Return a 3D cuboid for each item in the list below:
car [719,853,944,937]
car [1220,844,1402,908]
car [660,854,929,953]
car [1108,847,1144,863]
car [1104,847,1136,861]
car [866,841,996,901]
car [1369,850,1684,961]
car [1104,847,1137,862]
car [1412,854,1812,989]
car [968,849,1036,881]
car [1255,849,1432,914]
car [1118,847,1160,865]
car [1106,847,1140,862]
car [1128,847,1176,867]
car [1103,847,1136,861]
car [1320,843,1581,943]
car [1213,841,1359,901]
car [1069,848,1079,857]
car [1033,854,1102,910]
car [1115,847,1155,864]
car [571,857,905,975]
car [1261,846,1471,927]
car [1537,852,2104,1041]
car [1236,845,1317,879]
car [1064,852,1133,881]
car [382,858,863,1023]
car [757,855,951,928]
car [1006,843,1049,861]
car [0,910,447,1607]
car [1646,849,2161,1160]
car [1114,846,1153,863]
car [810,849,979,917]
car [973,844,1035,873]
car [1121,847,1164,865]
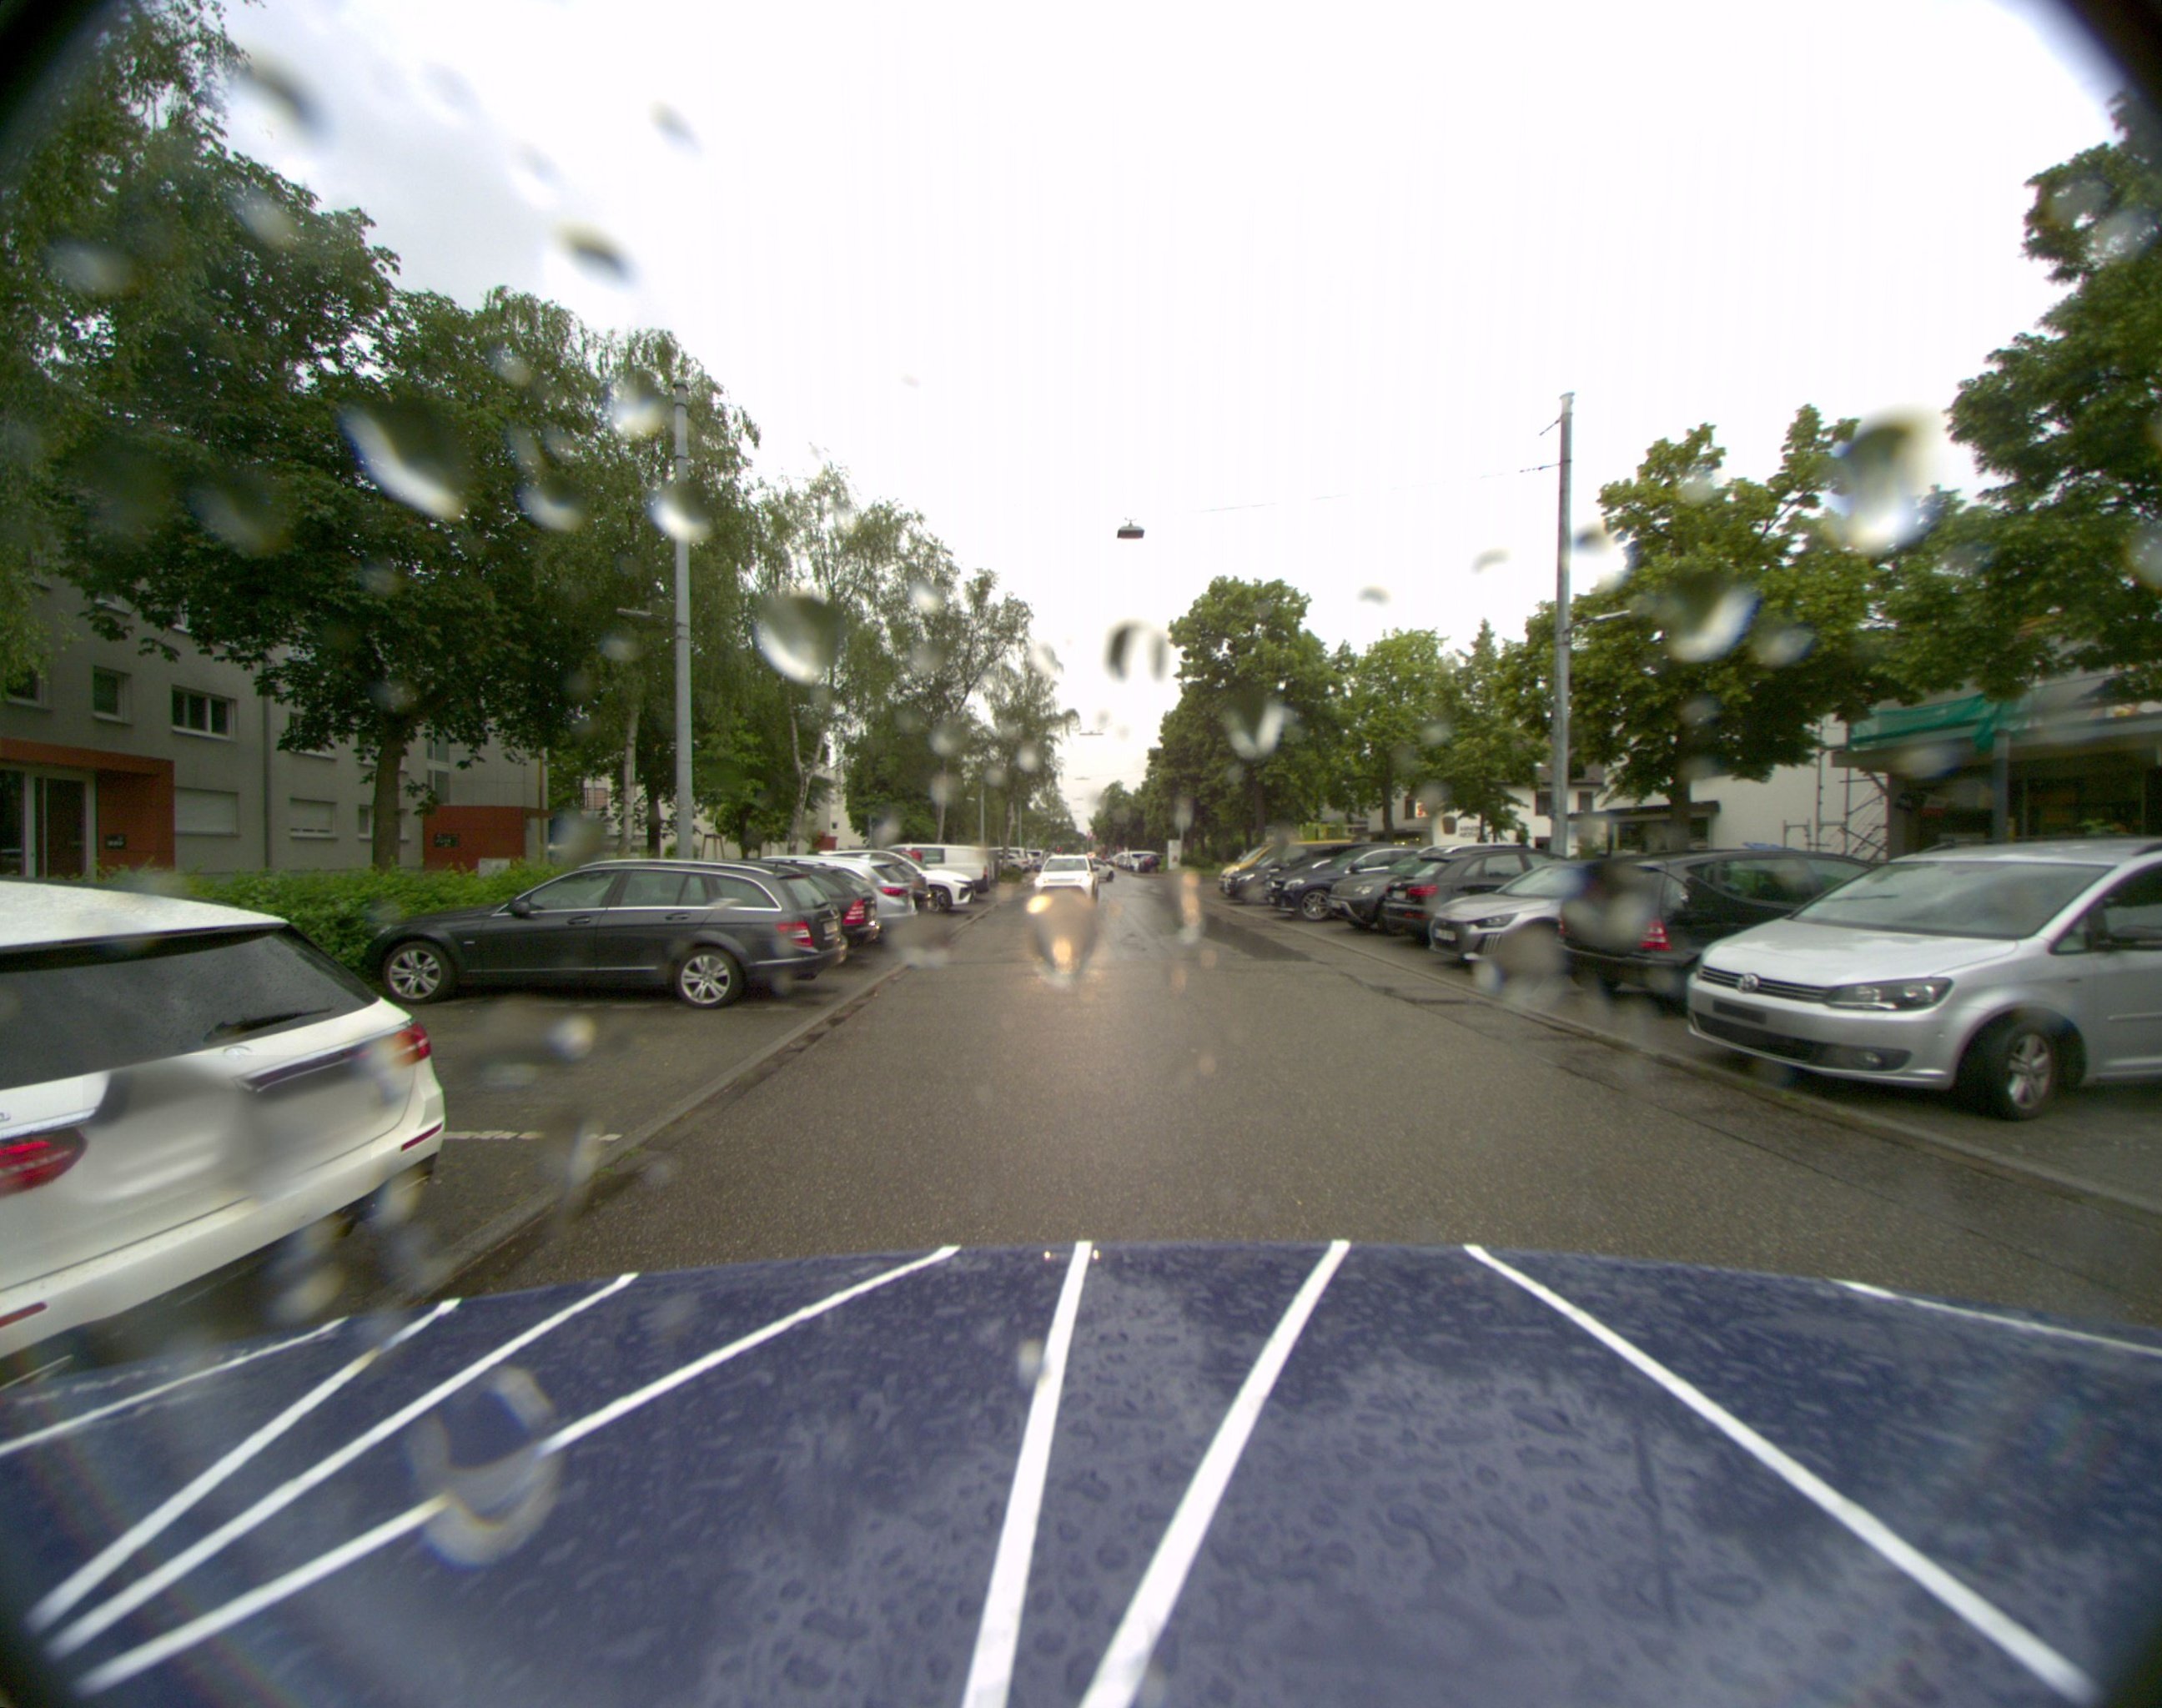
[{"bbox_3d":[-4.989,0.796,15.620,4.049,1.488,1.680,2,1,-3],"label":"car"},{"bbox_3d":[7.122,0.646,23.846,5.177,1.789,1.715,-2,1,-2],"label":"car"},{"bbox_3d":[-4.846,0.820,13.299,4.049,1.488,1.680,2,1,-3],"label":"car"},{"bbox_3d":[5.353,0.115,90.301,3.998,1.675,1.999,-2,1,-3],"label":"car"},{"bbox_3d":[5.224,0.006,101.605,3.998,1.675,1.999,-2,1,-3],"label":"car"},{"bbox_3d":[-5.073,0.576,26.179,4.182,1.856,1.679,2,1,-6],"label":"car"},{"bbox_3d":[7.271,0.787,12.665,4.283,1.586,1.715,-2,1,-2],"label":"car"},{"bbox_3d":[5.046,0.042,96.930,3.998,1.675,1.999,-2,1,-3],"label":"car"},{"bbox_3d":[7.005,0.837,10.306,4.283,1.523,1.715,-2,1,-2],"label":"car"},{"bbox_3d":[-5.101,0.693,49.253,3.995,1.902,1.902,-2,1,4],"label":"car"},{"bbox_3d":[7.188,0.721,21.059,4.283,1.617,1.715,-2,1,-2],"label":"car"},{"bbox_3d":[5.936,0.169,78.339,3.998,1.675,1.999,-2,1,-3],"label":"car"},{"bbox_3d":[5.236,0.067,94.408,3.998,1.675,1.999,-2,1,-3],"label":"car"},{"bbox_3d":[6.415,0.271,68.868,3.998,1.675,1.999,-2,1,-3],"label":"car"},{"bbox_3d":[4.989,0.016,99.163,3.998,1.675,1.999,-2,1,-3],"label":"car"},{"bbox_3d":[7.097,0.703,14.857,4.283,1.717,1.715,-2,1,-2],"label":"car"},{"bbox_3d":[7.189,0.574,26.928,4.657,1.947,1.715,-2,1,-2],"label":"car"},{"bbox_3d":[-1.497,-0.367,159.745,1.998,1.804,3.999,-2,1,1],"label":"car"},{"bbox_3d":[-0.325,0.782,23.470,1.732,1.519,4.140,0,1,5],"label":"car"},{"bbox_3d":[5.780,0.140,81.037,3.998,1.675,1.999,-2,1,-3],"label":"car"},{"bbox_3d":[-4.790,0.852,11.052,4.049,1.431,1.680,2,1,-3],"label":"car"},{"bbox_3d":[6.626,0.717,17.935,4.283,1.717,1.715,-2,1,-2],"label":"car"},{"bbox_3d":[7.267,0.836,7.746,4.283,1.556,1.635,-2,1,-2],"label":"car"},{"bbox_3d":[10.684,0.430,41.685,3.996,1.677,1.841,-2,1,3],"label":"car"},{"bbox_3d":[1.058,0.703,43.747,1.995,1.446,4.265,-2,1,33],"label":"car"},{"bbox_3d":[-4.595,0.848,8.107,4.049,1.431,1.680,2,1,-3],"label":"car"},{"bbox_3d":[-5.223,0.848,17.886,4.049,1.488,1.680,2,1,-3],"label":"car"},{"bbox_3d":[-5.254,-0.207,75.017,3.995,1.670,1.902,-2,1,4],"label":"car"},{"bbox_3d":[-4.749,0.916,2.058,4.623,1.431,1.680,2,1,0],"label":"car"},{"bbox_3d":[6.621,0.840,5.202,4.283,1.625,1.715,-2,1,-2],"label":"car"},{"bbox_3d":[5.798,0.066,83.742,3.998,1.675,1.999,-2,1,-3],"label":"car"},{"bbox_3d":[-5.038,0.761,20.897,4.179,1.609,1.680,2,1,1],"label":"car"},{"bbox_3d":[-5.441,0.284,54.084,3.995,1.902,1.902,-2,1,4],"label":"car"},{"bbox_3d":[6.103,0.194,75.815,3.998,1.675,1.999,-2,1,-3],"label":"car"}]
